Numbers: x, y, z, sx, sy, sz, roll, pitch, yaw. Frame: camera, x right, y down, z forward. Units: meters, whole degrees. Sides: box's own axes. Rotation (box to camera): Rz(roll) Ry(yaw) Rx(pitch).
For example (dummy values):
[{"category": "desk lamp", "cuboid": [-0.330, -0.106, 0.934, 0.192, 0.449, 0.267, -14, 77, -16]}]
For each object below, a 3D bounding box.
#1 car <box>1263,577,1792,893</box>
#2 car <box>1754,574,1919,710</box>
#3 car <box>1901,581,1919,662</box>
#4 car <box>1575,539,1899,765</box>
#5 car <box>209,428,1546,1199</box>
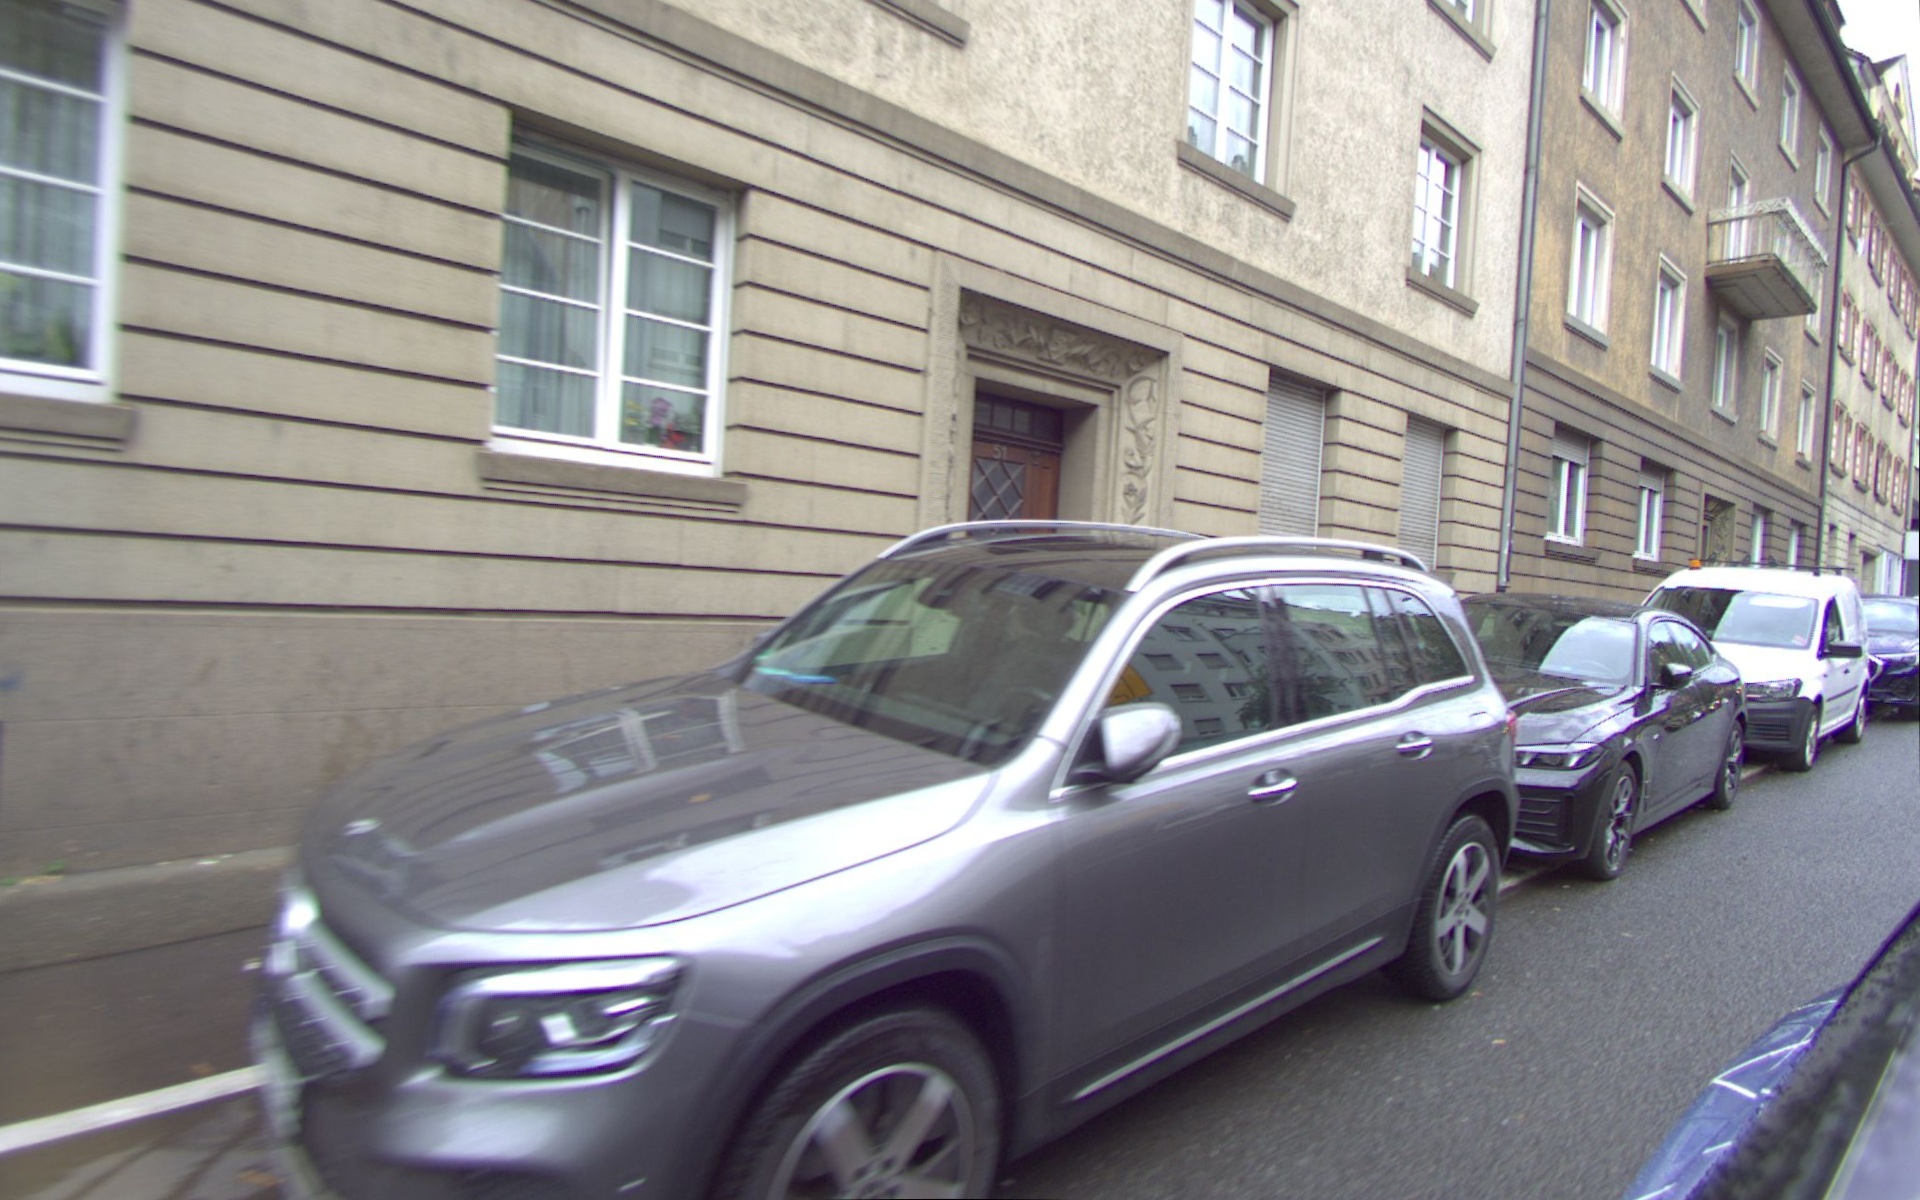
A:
[{"category": "car", "cuboid": [4.130, 0.627, 7.030, 4.312, 1.426, 1.845, 0, 5, -42]}, {"category": "car", "cuboid": [12.803, 0.501, 14.153, 4.150, 1.567, 1.795, 0, 4, -40]}, {"category": "car", "cuboid": [21.825, 0.482, 21.946, 4.124, 1.657, 1.635, -1, 5, -42]}, {"category": "car", "cuboid": [8.095, 0.392, 10.421, 4.008, 1.839, 1.795, 0, 4, -41]}, {"category": "car", "cuboid": [0.157, 0.521, 3.361, 4.136, 1.640, 1.844, -1, 4, -42]}]
